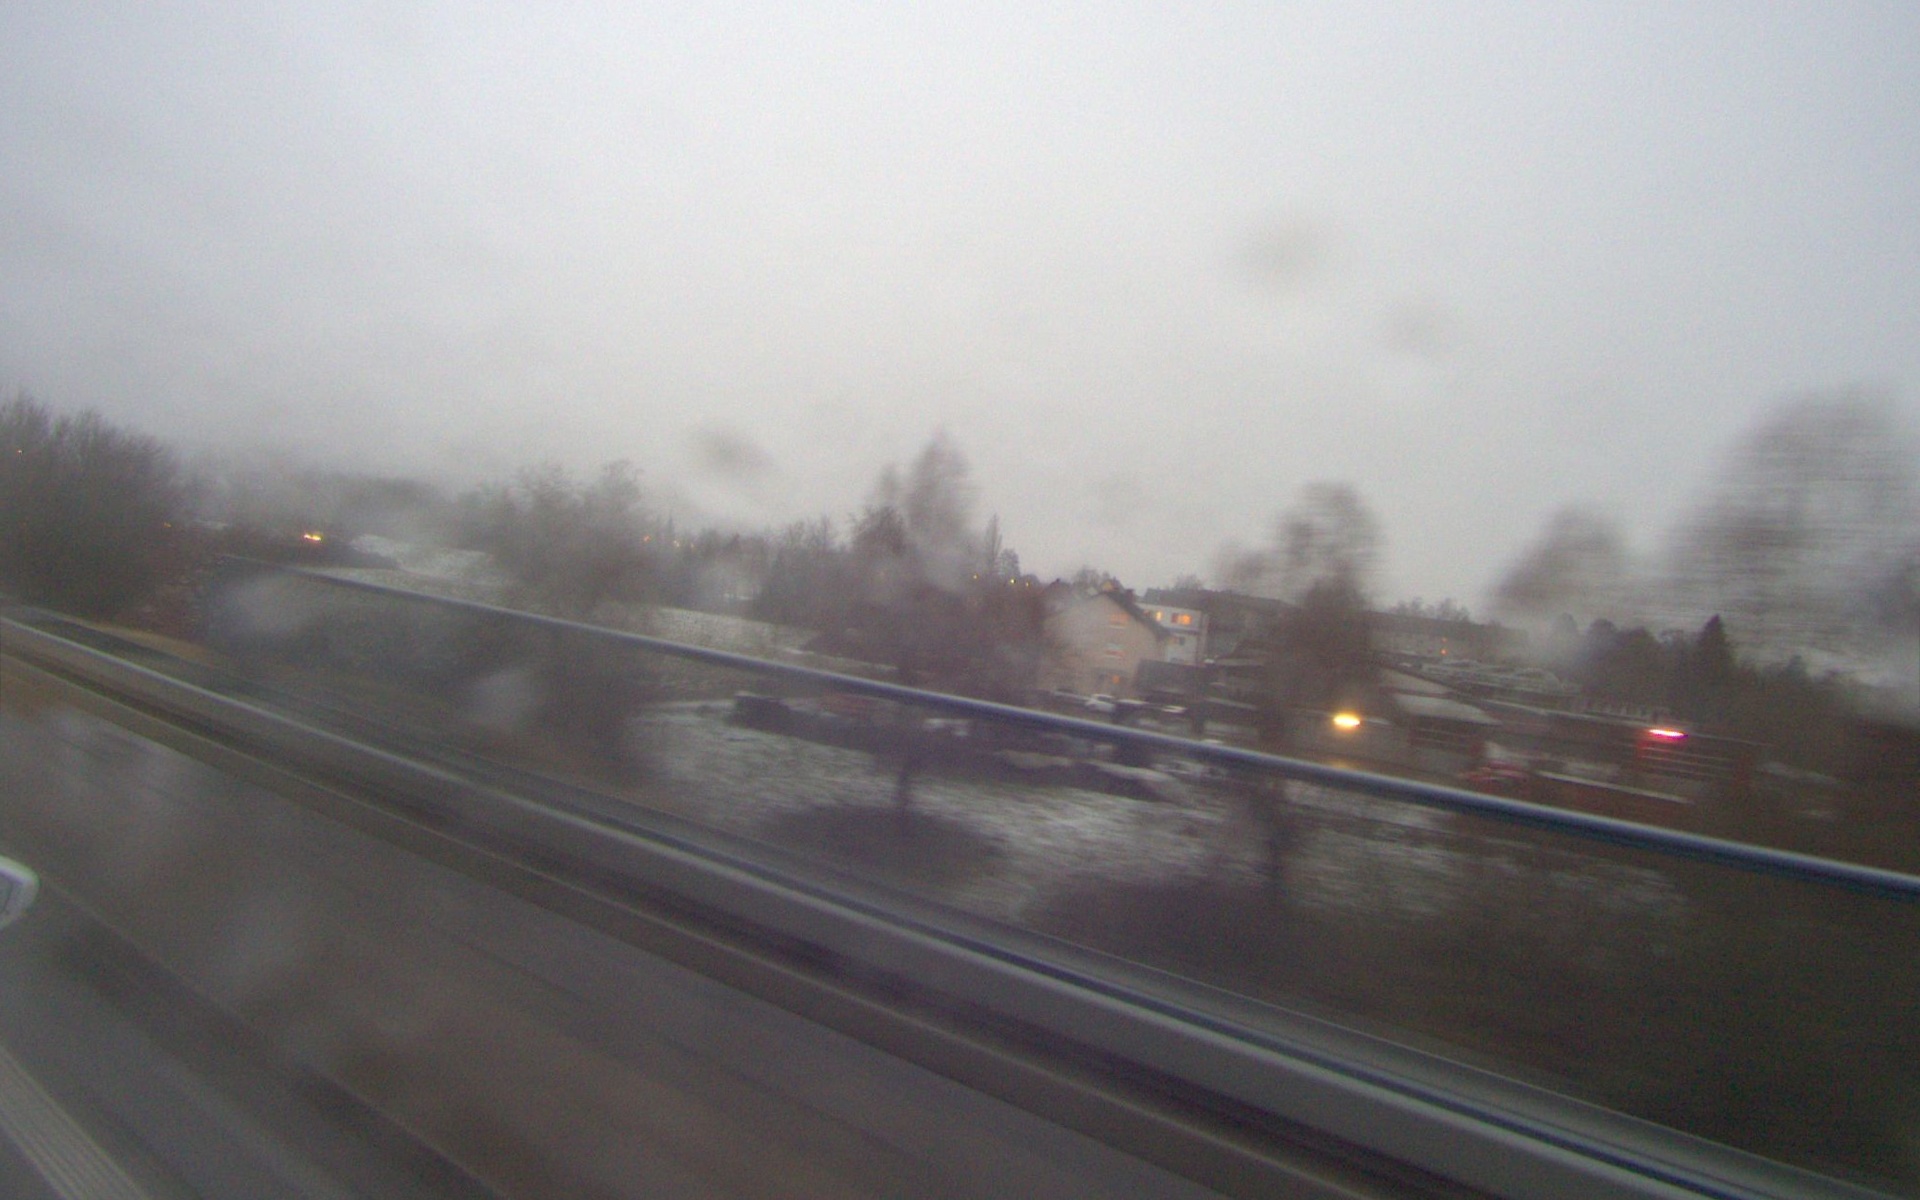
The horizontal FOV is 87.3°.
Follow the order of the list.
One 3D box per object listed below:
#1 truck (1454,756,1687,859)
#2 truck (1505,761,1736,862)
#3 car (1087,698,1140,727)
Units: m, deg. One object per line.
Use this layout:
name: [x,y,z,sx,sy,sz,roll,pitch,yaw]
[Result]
truck: [32.066,10.841,53.431,9.968,3.271,2.795,7,-1,23]
truck: [35.934,11.467,55.299,9.968,3.271,2.795,7,-1,23]
car: [13.003,9.488,85.187,3.925,1.748,2.002,7,-1,18]
